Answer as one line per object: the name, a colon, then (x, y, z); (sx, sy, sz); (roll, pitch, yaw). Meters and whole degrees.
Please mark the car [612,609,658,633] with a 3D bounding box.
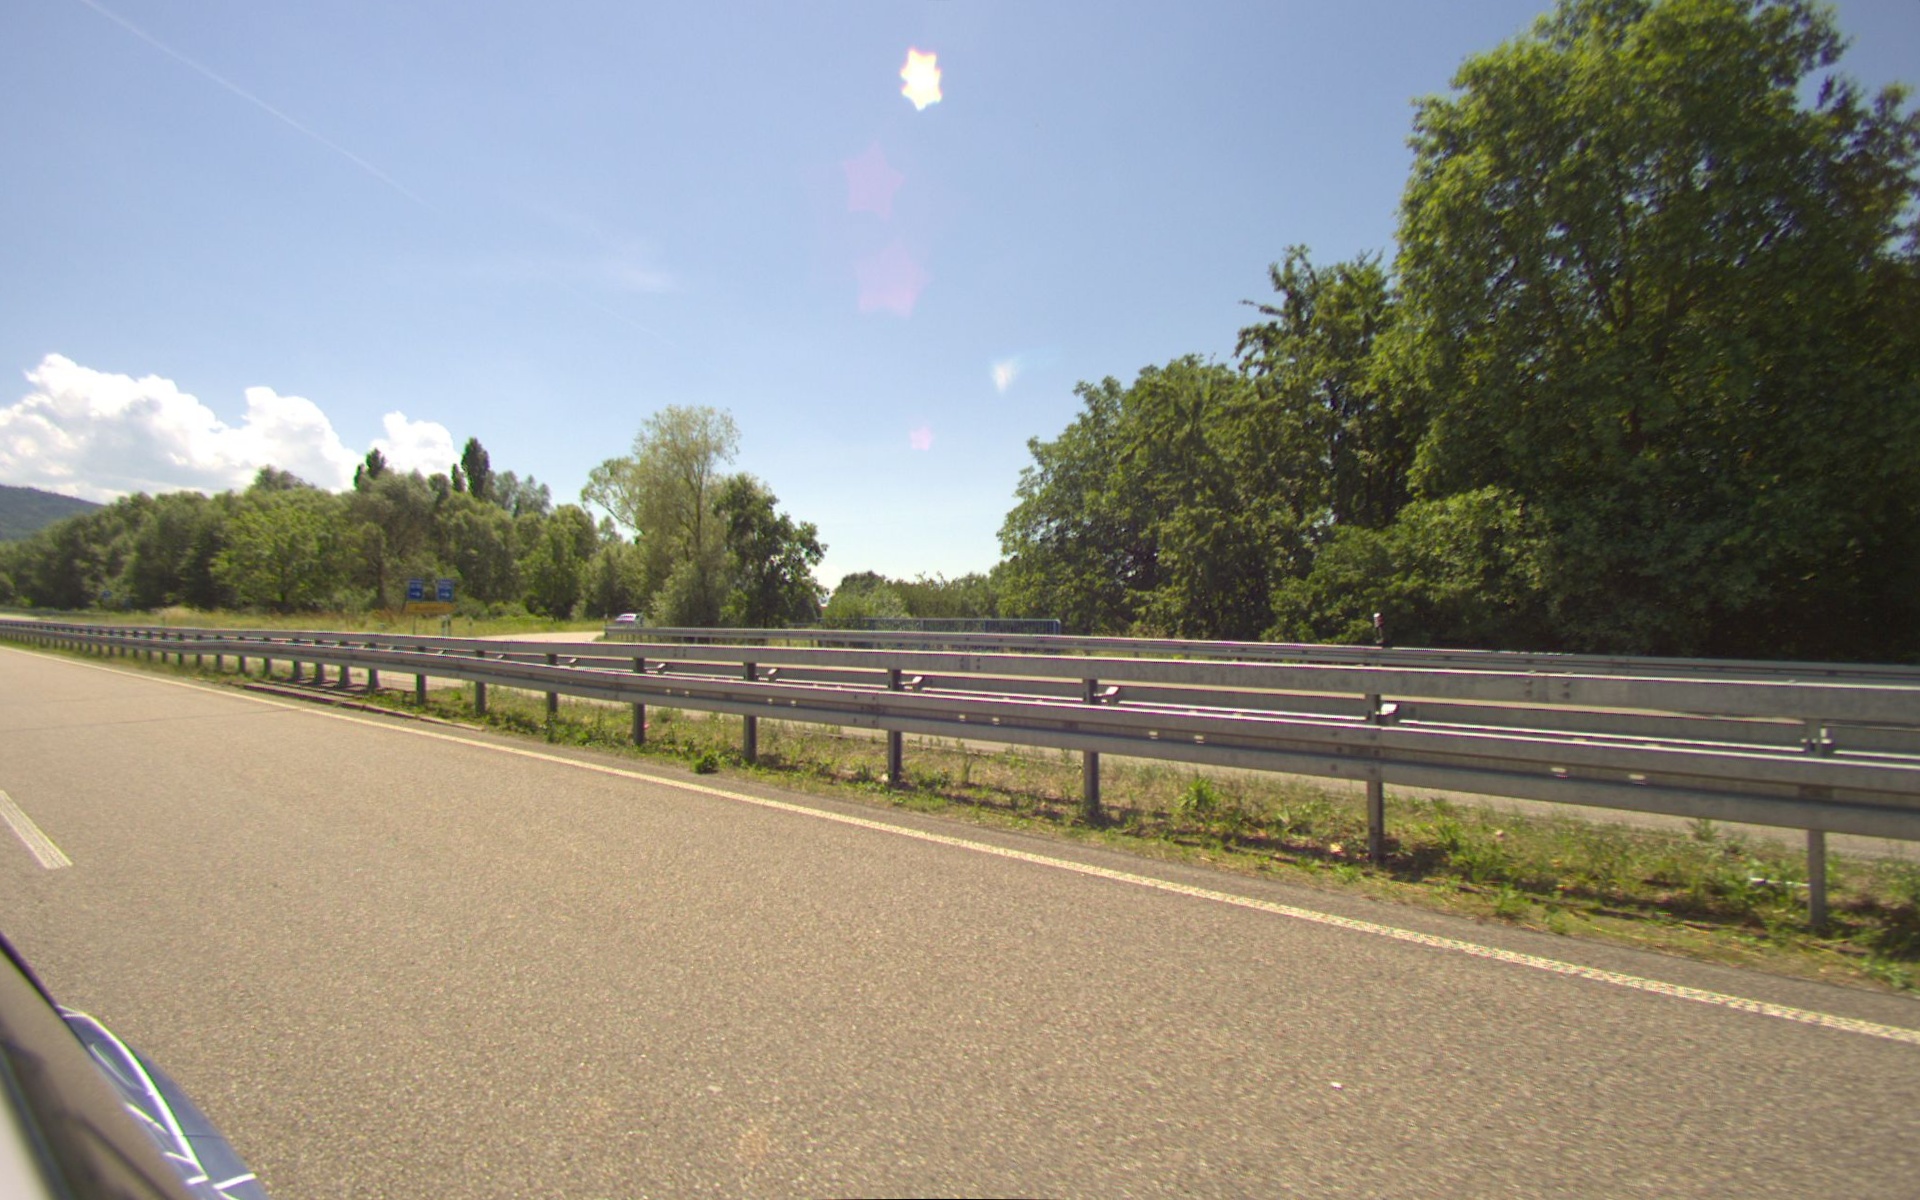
car: (-25.188, 1.583, 78.589); (1.707, 1.657, 4.937); (-1, 1, 4)
